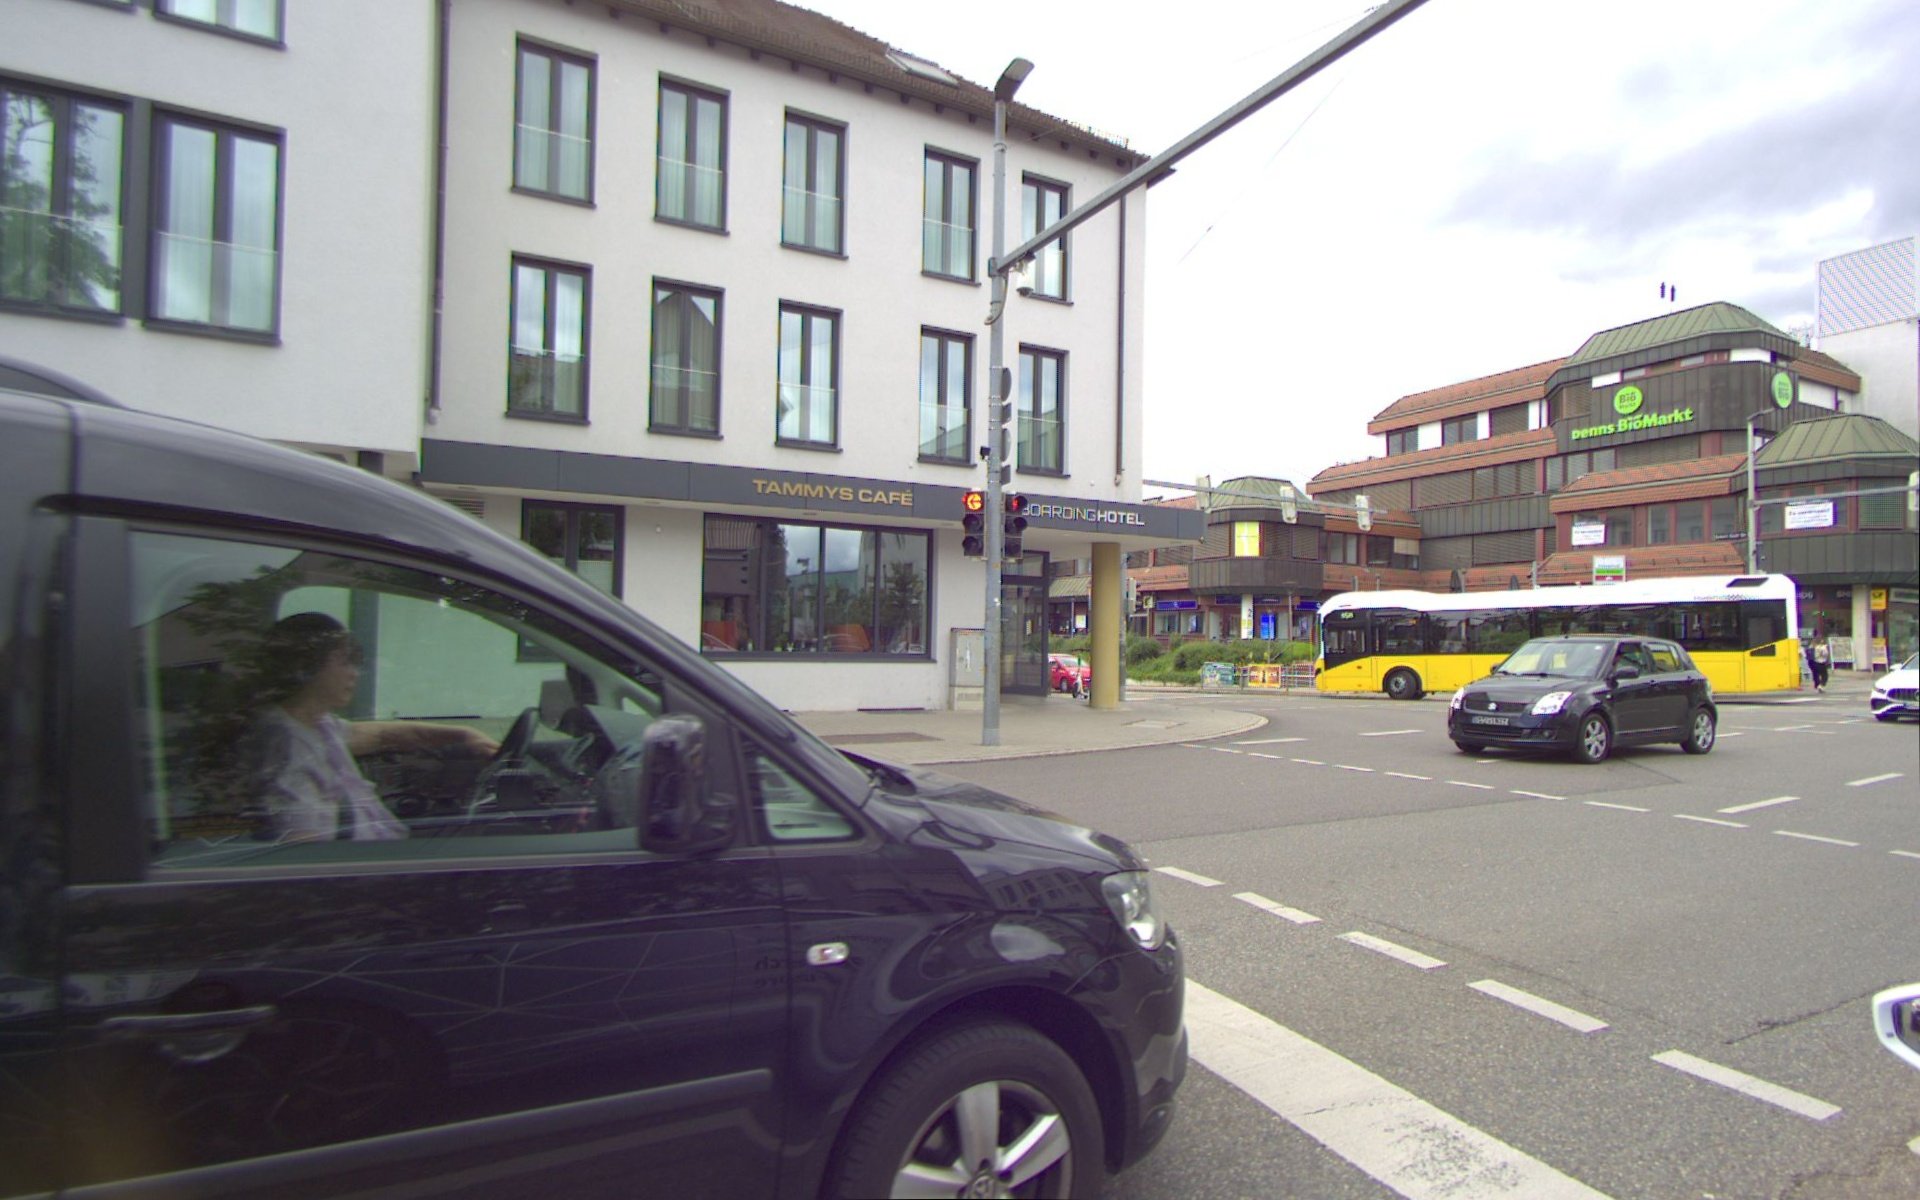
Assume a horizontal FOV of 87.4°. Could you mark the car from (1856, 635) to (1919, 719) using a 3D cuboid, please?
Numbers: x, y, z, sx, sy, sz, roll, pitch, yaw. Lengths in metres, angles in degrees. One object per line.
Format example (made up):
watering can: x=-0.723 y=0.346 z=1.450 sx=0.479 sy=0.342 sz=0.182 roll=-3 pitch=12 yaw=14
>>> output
car: x=18.716 y=1.391 z=18.745 sx=4.185 sy=1.478 sz=1.736 roll=1 pitch=-2 yaw=-30

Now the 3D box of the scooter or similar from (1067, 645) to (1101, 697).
scooter or similar: x=2.939 y=1.684 z=23.751 sx=0.418 sy=1.173 sz=1.575 roll=0 pitch=-4 yaw=21

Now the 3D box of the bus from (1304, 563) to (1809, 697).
bus: x=16.730 y=1.068 z=29.551 sx=12.090 sy=3.370 sz=2.992 roll=-3 pitch=-4 yaw=31

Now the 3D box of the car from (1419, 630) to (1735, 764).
car: x=7.840 y=1.127 z=12.740 sx=3.769 sy=1.478 sz=1.738 roll=1 pitch=-2 yaw=-28

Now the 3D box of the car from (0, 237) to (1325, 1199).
car: x=-1.524 y=0.455 z=2.076 sx=4.515 sy=1.845 sz=1.700 roll=1 pitch=1 yaw=-29

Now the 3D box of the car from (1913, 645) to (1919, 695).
car: x=29.925 y=1.969 z=29.324 sx=4.142 sy=1.436 sz=1.630 roll=0 pitch=-3 yaw=-26

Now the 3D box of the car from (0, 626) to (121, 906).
car: x=-7.312 y=0.890 z=5.397 sx=3.950 sy=1.505 sz=1.862 roll=1 pitch=-1 yaw=-28

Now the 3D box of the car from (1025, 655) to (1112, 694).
car: x=4.297 y=2.975 z=40.512 sx=1.790 sy=1.505 sz=3.979 roll=2 pitch=-4 yaw=-23

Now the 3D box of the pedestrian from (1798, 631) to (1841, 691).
pedestrian: x=25.209 y=1.787 z=29.462 sx=0.769 sy=1.715 sz=0.745 roll=1 pitch=-1 yaw=-32
